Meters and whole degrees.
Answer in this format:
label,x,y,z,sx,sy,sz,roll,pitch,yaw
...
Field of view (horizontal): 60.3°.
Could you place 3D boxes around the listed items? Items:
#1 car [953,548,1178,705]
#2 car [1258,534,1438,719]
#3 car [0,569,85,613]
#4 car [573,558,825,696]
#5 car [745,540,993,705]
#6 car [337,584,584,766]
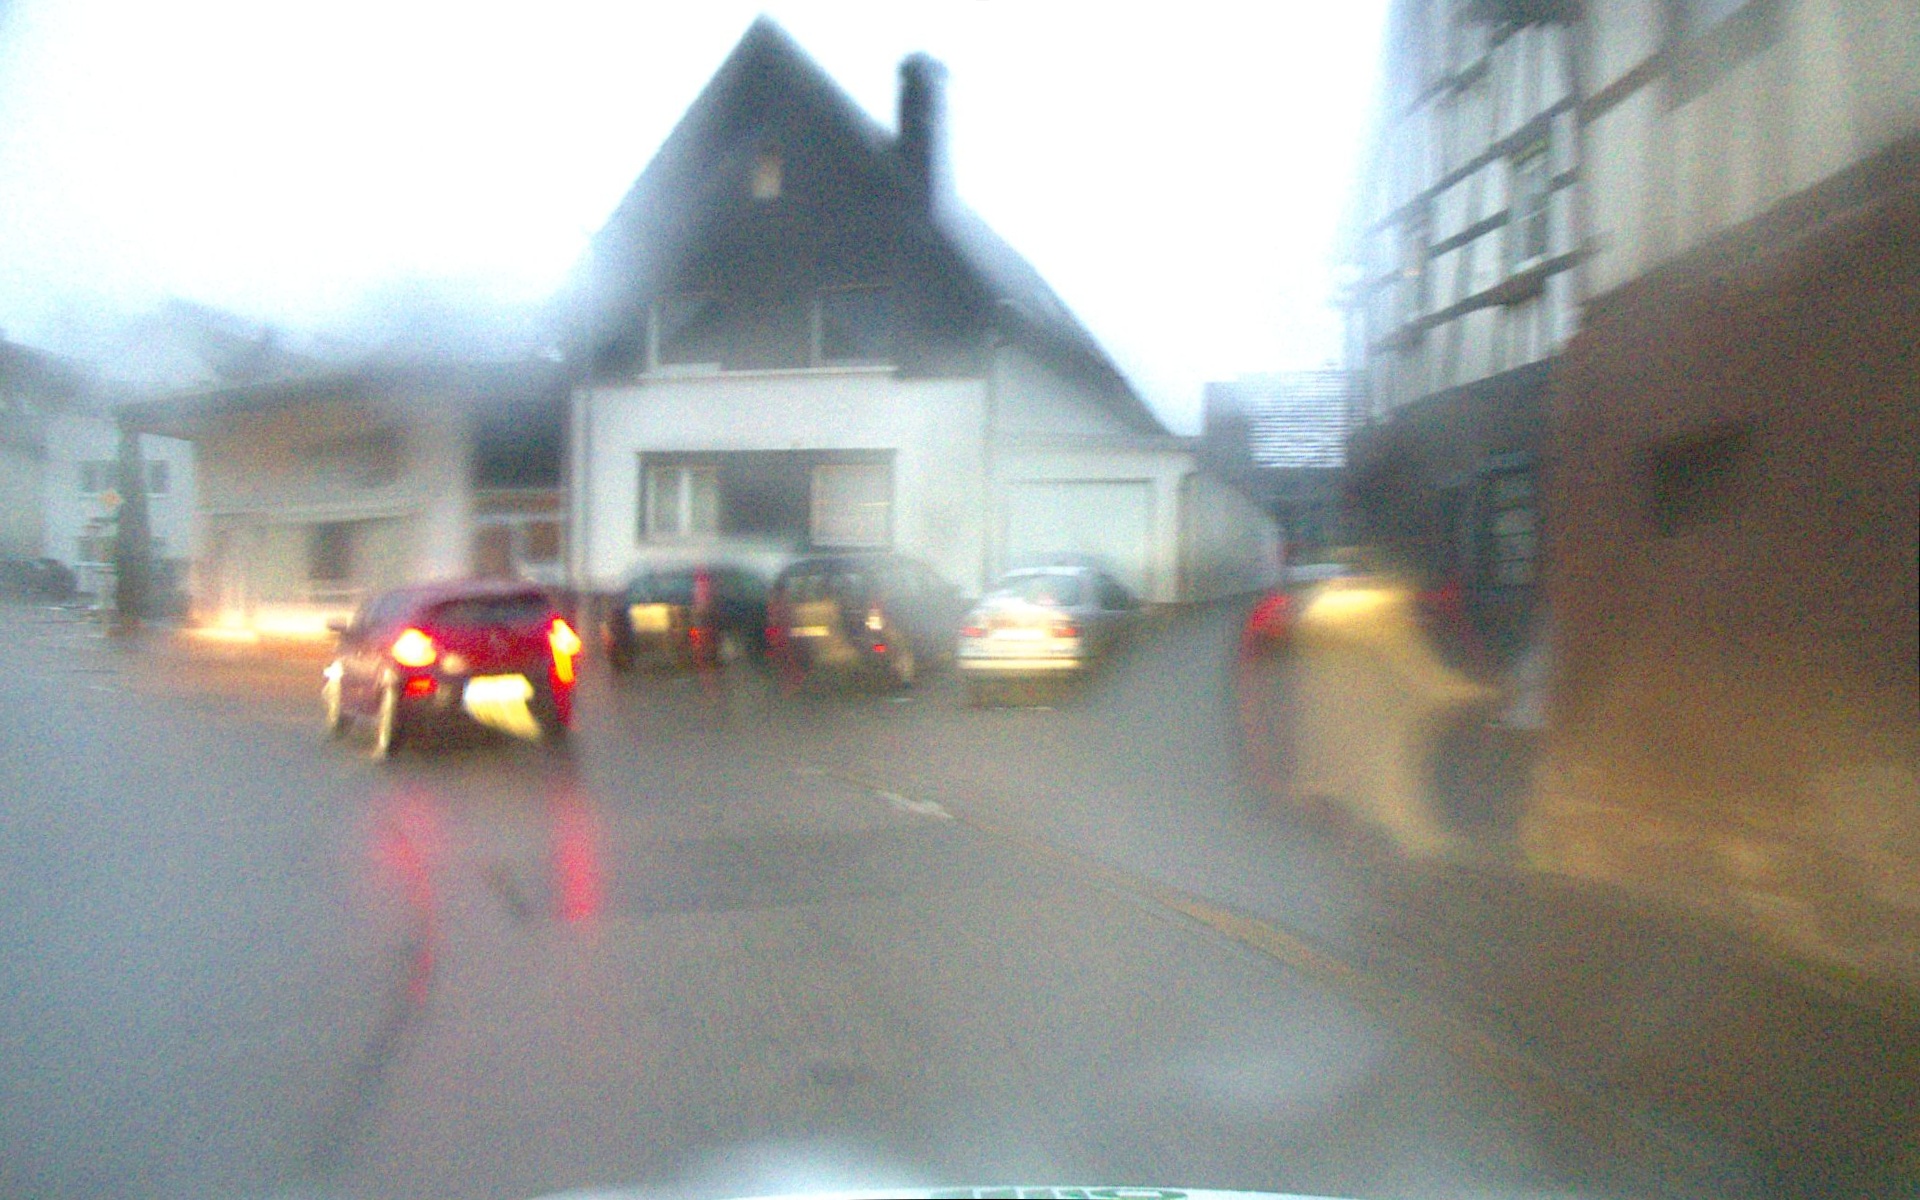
label,x,y,z,sx,sy,sz,roll,pitch,yaw
car,1.380,0.235,19.787,1.771,1.445,4.042,-2,4,17
car,3.994,0.185,17.495,1.558,1.541,3.990,-3,3,10
car,-34.881,-0.349,61.404,3.902,1.593,1.817,0,2,9
car,-3.459,0.311,22.729,1.843,1.474,3.898,-2,4,17
car,-1.040,0.196,21.566,1.810,1.689,4.482,-3,4,15
car,-4.810,0.608,15.615,1.529,1.491,3.663,0,0,-29
